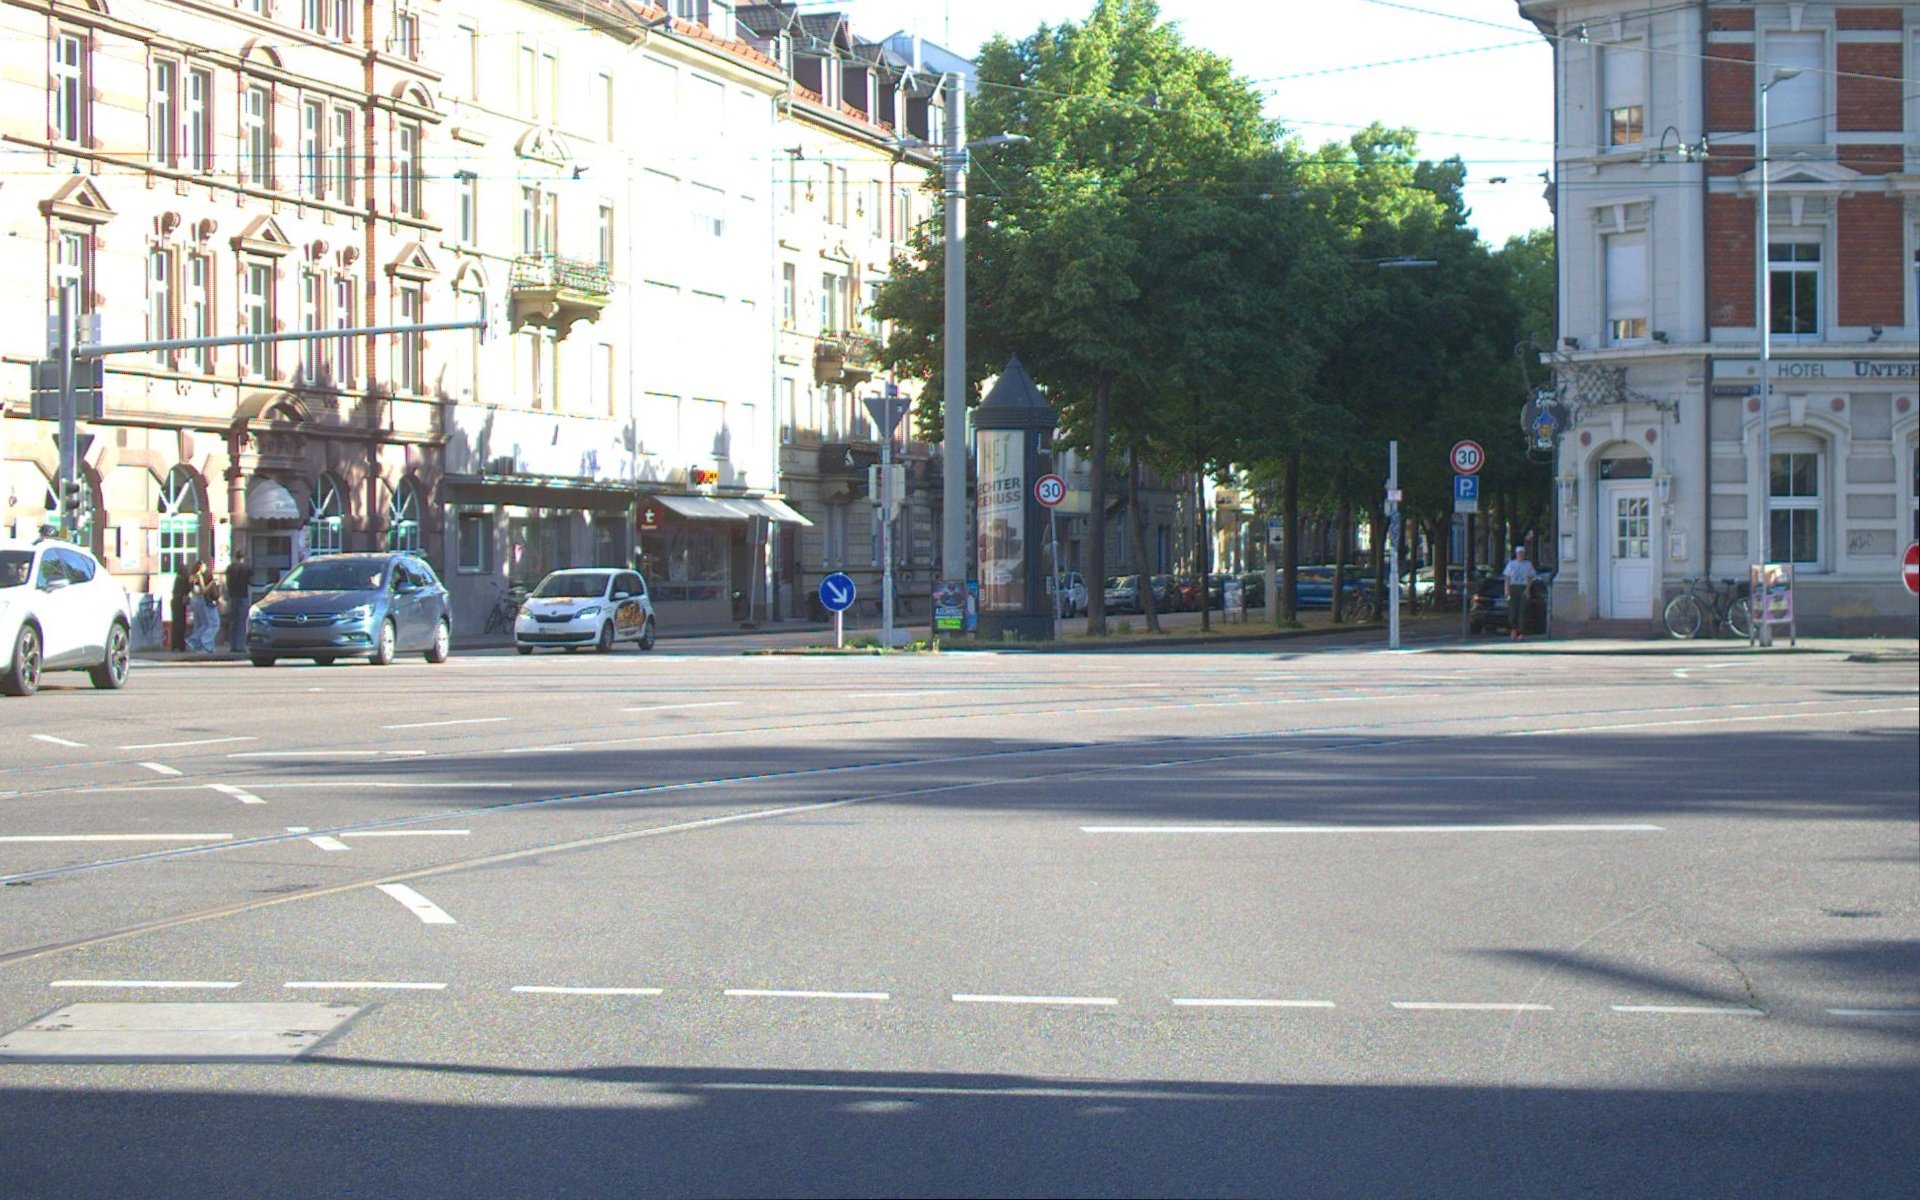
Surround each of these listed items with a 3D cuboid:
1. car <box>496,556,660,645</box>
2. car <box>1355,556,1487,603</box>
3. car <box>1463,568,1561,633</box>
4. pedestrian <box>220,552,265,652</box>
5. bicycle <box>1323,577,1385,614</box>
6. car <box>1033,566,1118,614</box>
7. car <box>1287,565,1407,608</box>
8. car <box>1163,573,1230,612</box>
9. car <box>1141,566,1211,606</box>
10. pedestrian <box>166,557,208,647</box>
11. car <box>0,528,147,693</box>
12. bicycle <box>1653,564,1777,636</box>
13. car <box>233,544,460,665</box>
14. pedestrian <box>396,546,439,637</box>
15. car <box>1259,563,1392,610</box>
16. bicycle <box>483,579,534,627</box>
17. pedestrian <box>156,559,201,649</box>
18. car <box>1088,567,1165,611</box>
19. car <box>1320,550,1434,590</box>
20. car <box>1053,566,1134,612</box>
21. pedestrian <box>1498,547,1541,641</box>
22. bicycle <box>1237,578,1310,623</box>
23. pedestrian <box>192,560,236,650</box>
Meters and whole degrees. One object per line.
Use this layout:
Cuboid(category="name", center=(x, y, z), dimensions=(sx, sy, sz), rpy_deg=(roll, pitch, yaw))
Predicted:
Cuboid(category="car", center=(-6.689, -0.009, 60.525), dimensions=(1.719, 1.492, 3.581), rpy_deg=(0, 1, 14))
Cuboid(category="car", center=(15.606, -0.701, 116.422), dimensions=(3.994, 1.540, 1.997), rpy_deg=(0, 1, 31))
Cuboid(category="car", center=(13.263, -0.008, 82.429), dimensions=(1.995, 1.492, 4.031), rpy_deg=(0, 1, 14))
Cuboid(category="pedestrian", center=(-13.306, 0.032, 63.744), dimensions=(0.580, 1.830, 0.632), rpy_deg=(0, 1, 16))
Cuboid(category="bicycle", center=(11.371, -0.138, 99.264), dimensions=(0.582, 1.063, 1.949), rpy_deg=(-1, 1, -37))
Cuboid(category="car", center=(3.801, -0.346, 112.887), dimensions=(1.995, 1.492, 4.031), rpy_deg=(0, 1, 14))
Cuboid(category="car", center=(14.435, -0.503, 128.319), dimensions=(3.993, 1.540, 1.997), rpy_deg=(0, 1, 28))
Cuboid(category="car", center=(9.404, -0.322, 136.546), dimensions=(1.995, 1.492, 4.031), rpy_deg=(0, 1, 14))
Cuboid(category="car", center=(8.286, -0.540, 131.807), dimensions=(1.995, 1.492, 4.031), rpy_deg=(0, 1, 14))
Cuboid(category="pedestrian", center=(-14.035, 0.035, 62.418), dimensions=(0.551, 1.636, 0.537), rpy_deg=(0, 1, 15))
Cuboid(category="car", center=(-9.536, 0.063, 33.354), dimensions=(1.994, 1.492, 4.347), rpy_deg=(0, 1, 4))
Cuboid(category="bicycle", center=(12.549, -0.004, 57.190), dimensions=(1.961, 1.186, 0.546), rpy_deg=(0, 1, 5))
Cuboid(category="car", center=(-7.946, 0.024, 44.909), dimensions=(1.774, 1.492, 4.572), rpy_deg=(0, 1, 5))
Cuboid(category="pedestrian", center=(-11.508, -0.183, 72.970), dimensions=(0.682, 1.902, 0.632), rpy_deg=(0, 1, 16))
Cuboid(category="car", center=(12.313, -0.461, 115.678), dimensions=(3.993, 1.540, 1.997), rpy_deg=(0, 1, 28))
Cuboid(category="bicycle", center=(-10.437, 0.065, 79.567), dimensions=(0.495, 1.063, 1.768), rpy_deg=(0, 1, 16))
Cuboid(category="pedestrian", center=(-14.362, 0.074, 63.178), dimensions=(0.627, 1.636, 0.537), rpy_deg=(0, 1, 13))
Cuboid(category="car", center=(5.969, -0.410, 122.610), dimensions=(1.995, 1.492, 4.031), rpy_deg=(0, 1, 14))
Cuboid(category="car", center=(16.284, -1.163, 134.231), dimensions=(3.993, 1.540, 1.997), rpy_deg=(0, 1, 28))
Cuboid(category="car", center=(4.577, -0.380, 117.374), dimensions=(1.995, 1.492, 4.031), rpy_deg=(0, 1, 14))
Cuboid(category="pedestrian", center=(10.006, -0.106, 61.464), dimensions=(0.716, 1.664, 0.939), rpy_deg=(0, 1, 12))
Cuboid(category="bicycle", center=(7.541, 0.000, 82.771), dimensions=(0.582, 1.063, 1.949), rpy_deg=(-1, 1, -37))
Cuboid(category="pedestrian", center=(-13.669, 0.085, 62.997), dimensions=(0.551, 1.636, 0.632), rpy_deg=(0, 1, 14))
